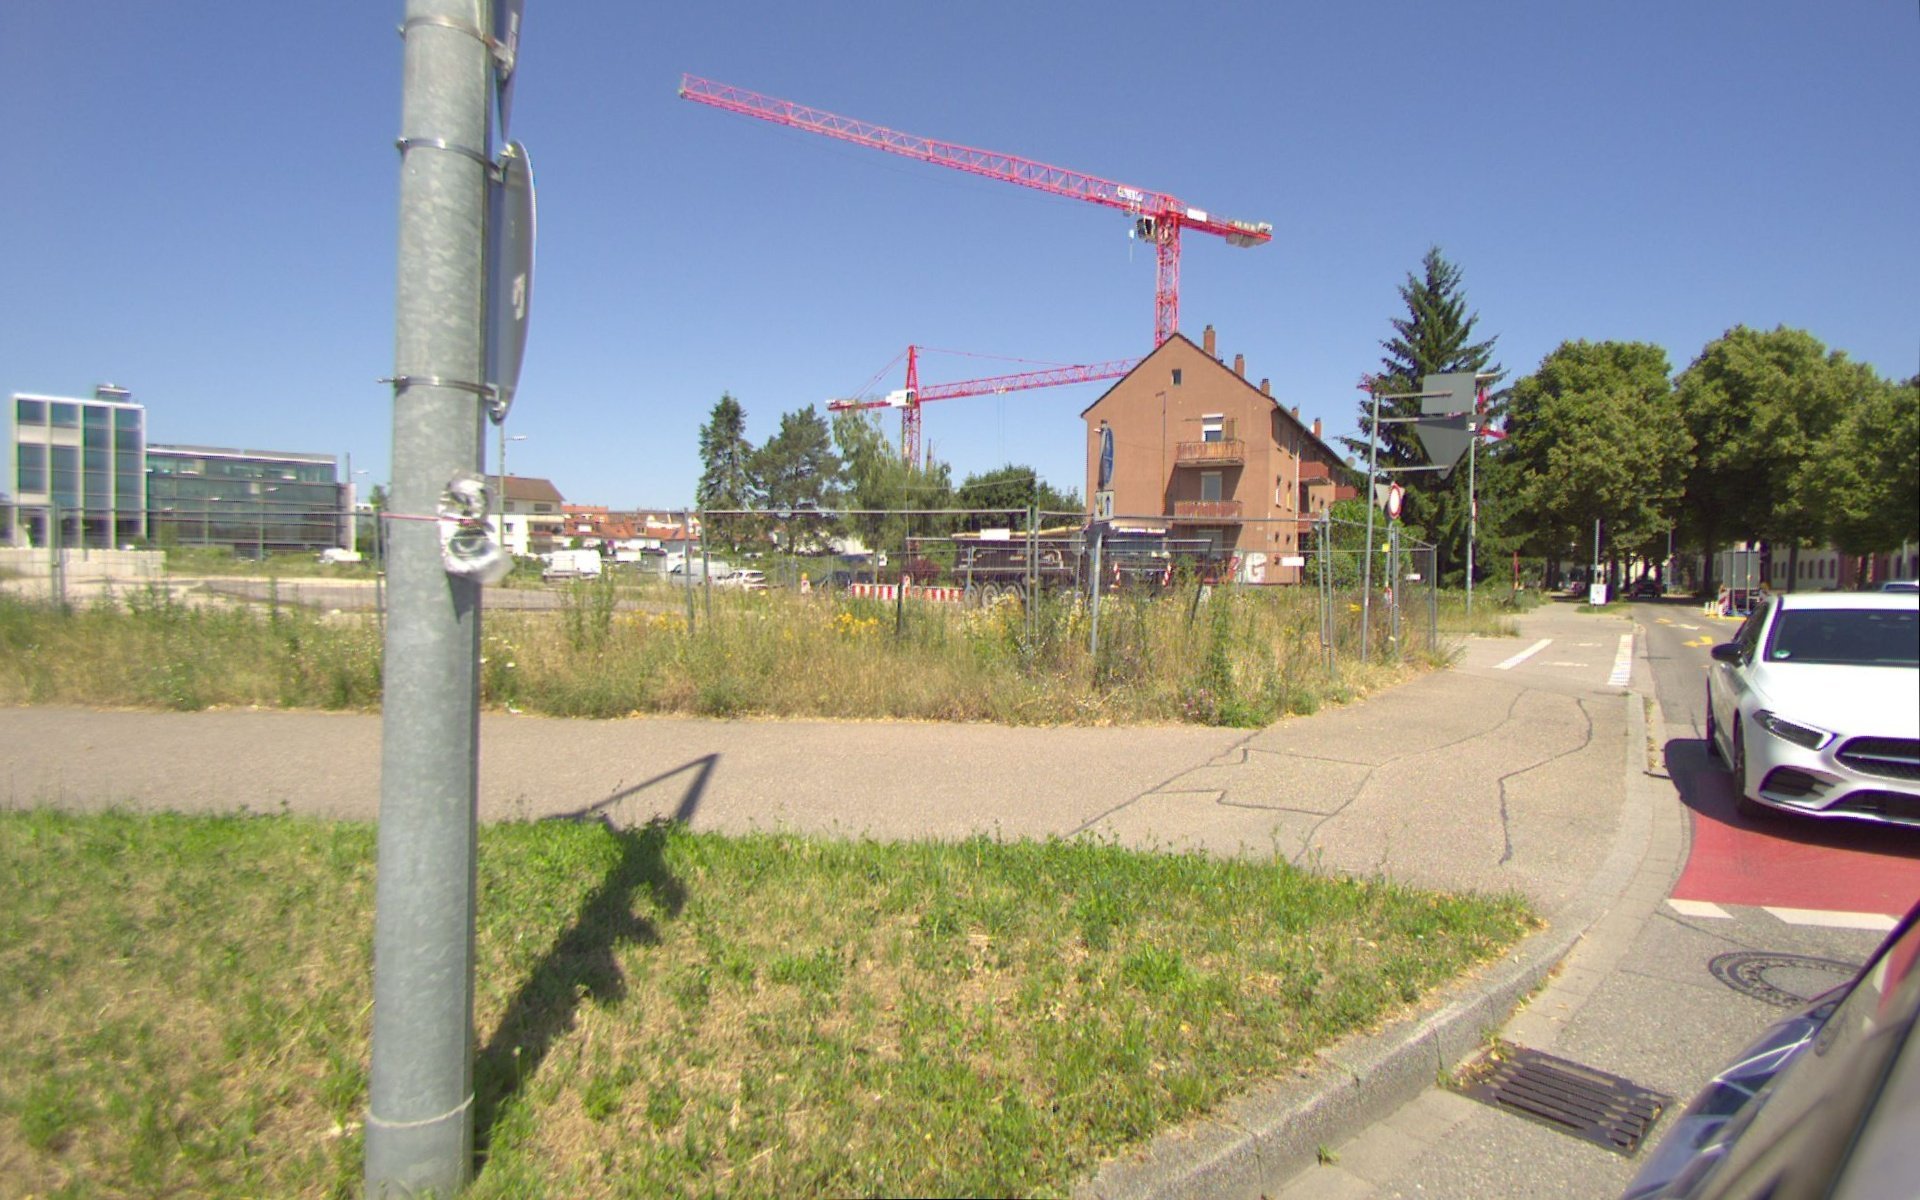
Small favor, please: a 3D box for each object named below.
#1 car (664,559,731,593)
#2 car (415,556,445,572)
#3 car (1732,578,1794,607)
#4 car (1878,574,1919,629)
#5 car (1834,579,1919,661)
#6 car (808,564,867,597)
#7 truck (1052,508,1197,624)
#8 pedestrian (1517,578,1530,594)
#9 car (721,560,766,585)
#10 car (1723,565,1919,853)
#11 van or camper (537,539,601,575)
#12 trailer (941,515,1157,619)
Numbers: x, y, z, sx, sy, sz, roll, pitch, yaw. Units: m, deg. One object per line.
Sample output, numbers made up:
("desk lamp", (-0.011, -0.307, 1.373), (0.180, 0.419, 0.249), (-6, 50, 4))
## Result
("car", (-16.630, -1.565, 63.995), (4.661, 2.038, 1.759), (2, 2, 40))
("car", (-52.032, -3.529, 99.352), (3.612, 1.606, 1.654), (1, 2, 45))
("car", (41.958, -0.416, 52.967), (1.626, 1.399, 3.857), (1, 2, 25))
("car", (32.649, 0.040, 34.294), (1.678, 1.792, 4.153), (0, 0, 34))
("car", (18.446, 0.372, 18.254), (1.771, 1.469, 4.609), (-1, 1, 8))
("car", (-6.465, -1.030, 53.250), (1.347, 1.633, 3.412), (0, 2, -42))
("truck", (5.409, -1.131, 34.222), (3.098, 3.576, 4.976), (1, 2, -14))
("pedestrian", (55.003, -1.398, 98.853), (1.018, 1.536, 0.674), (2, 2, 35))
("car", (-12.947, -1.638, 60.355), (1.395, 1.423, 2.785), (-1, 3, -43))
("car", (6.469, 0.559, 7.018), (1.770, 1.565, 3.912), (-1, 0, 36))
("van or camper", (-29.768, -3.270, 76.851), (1.899, 2.634, 6.985), (0, 2, -45))
("trailer", (3.172, -1.298, 39.209), (3.106, 3.576, 8.990), (0, 2, -37))
